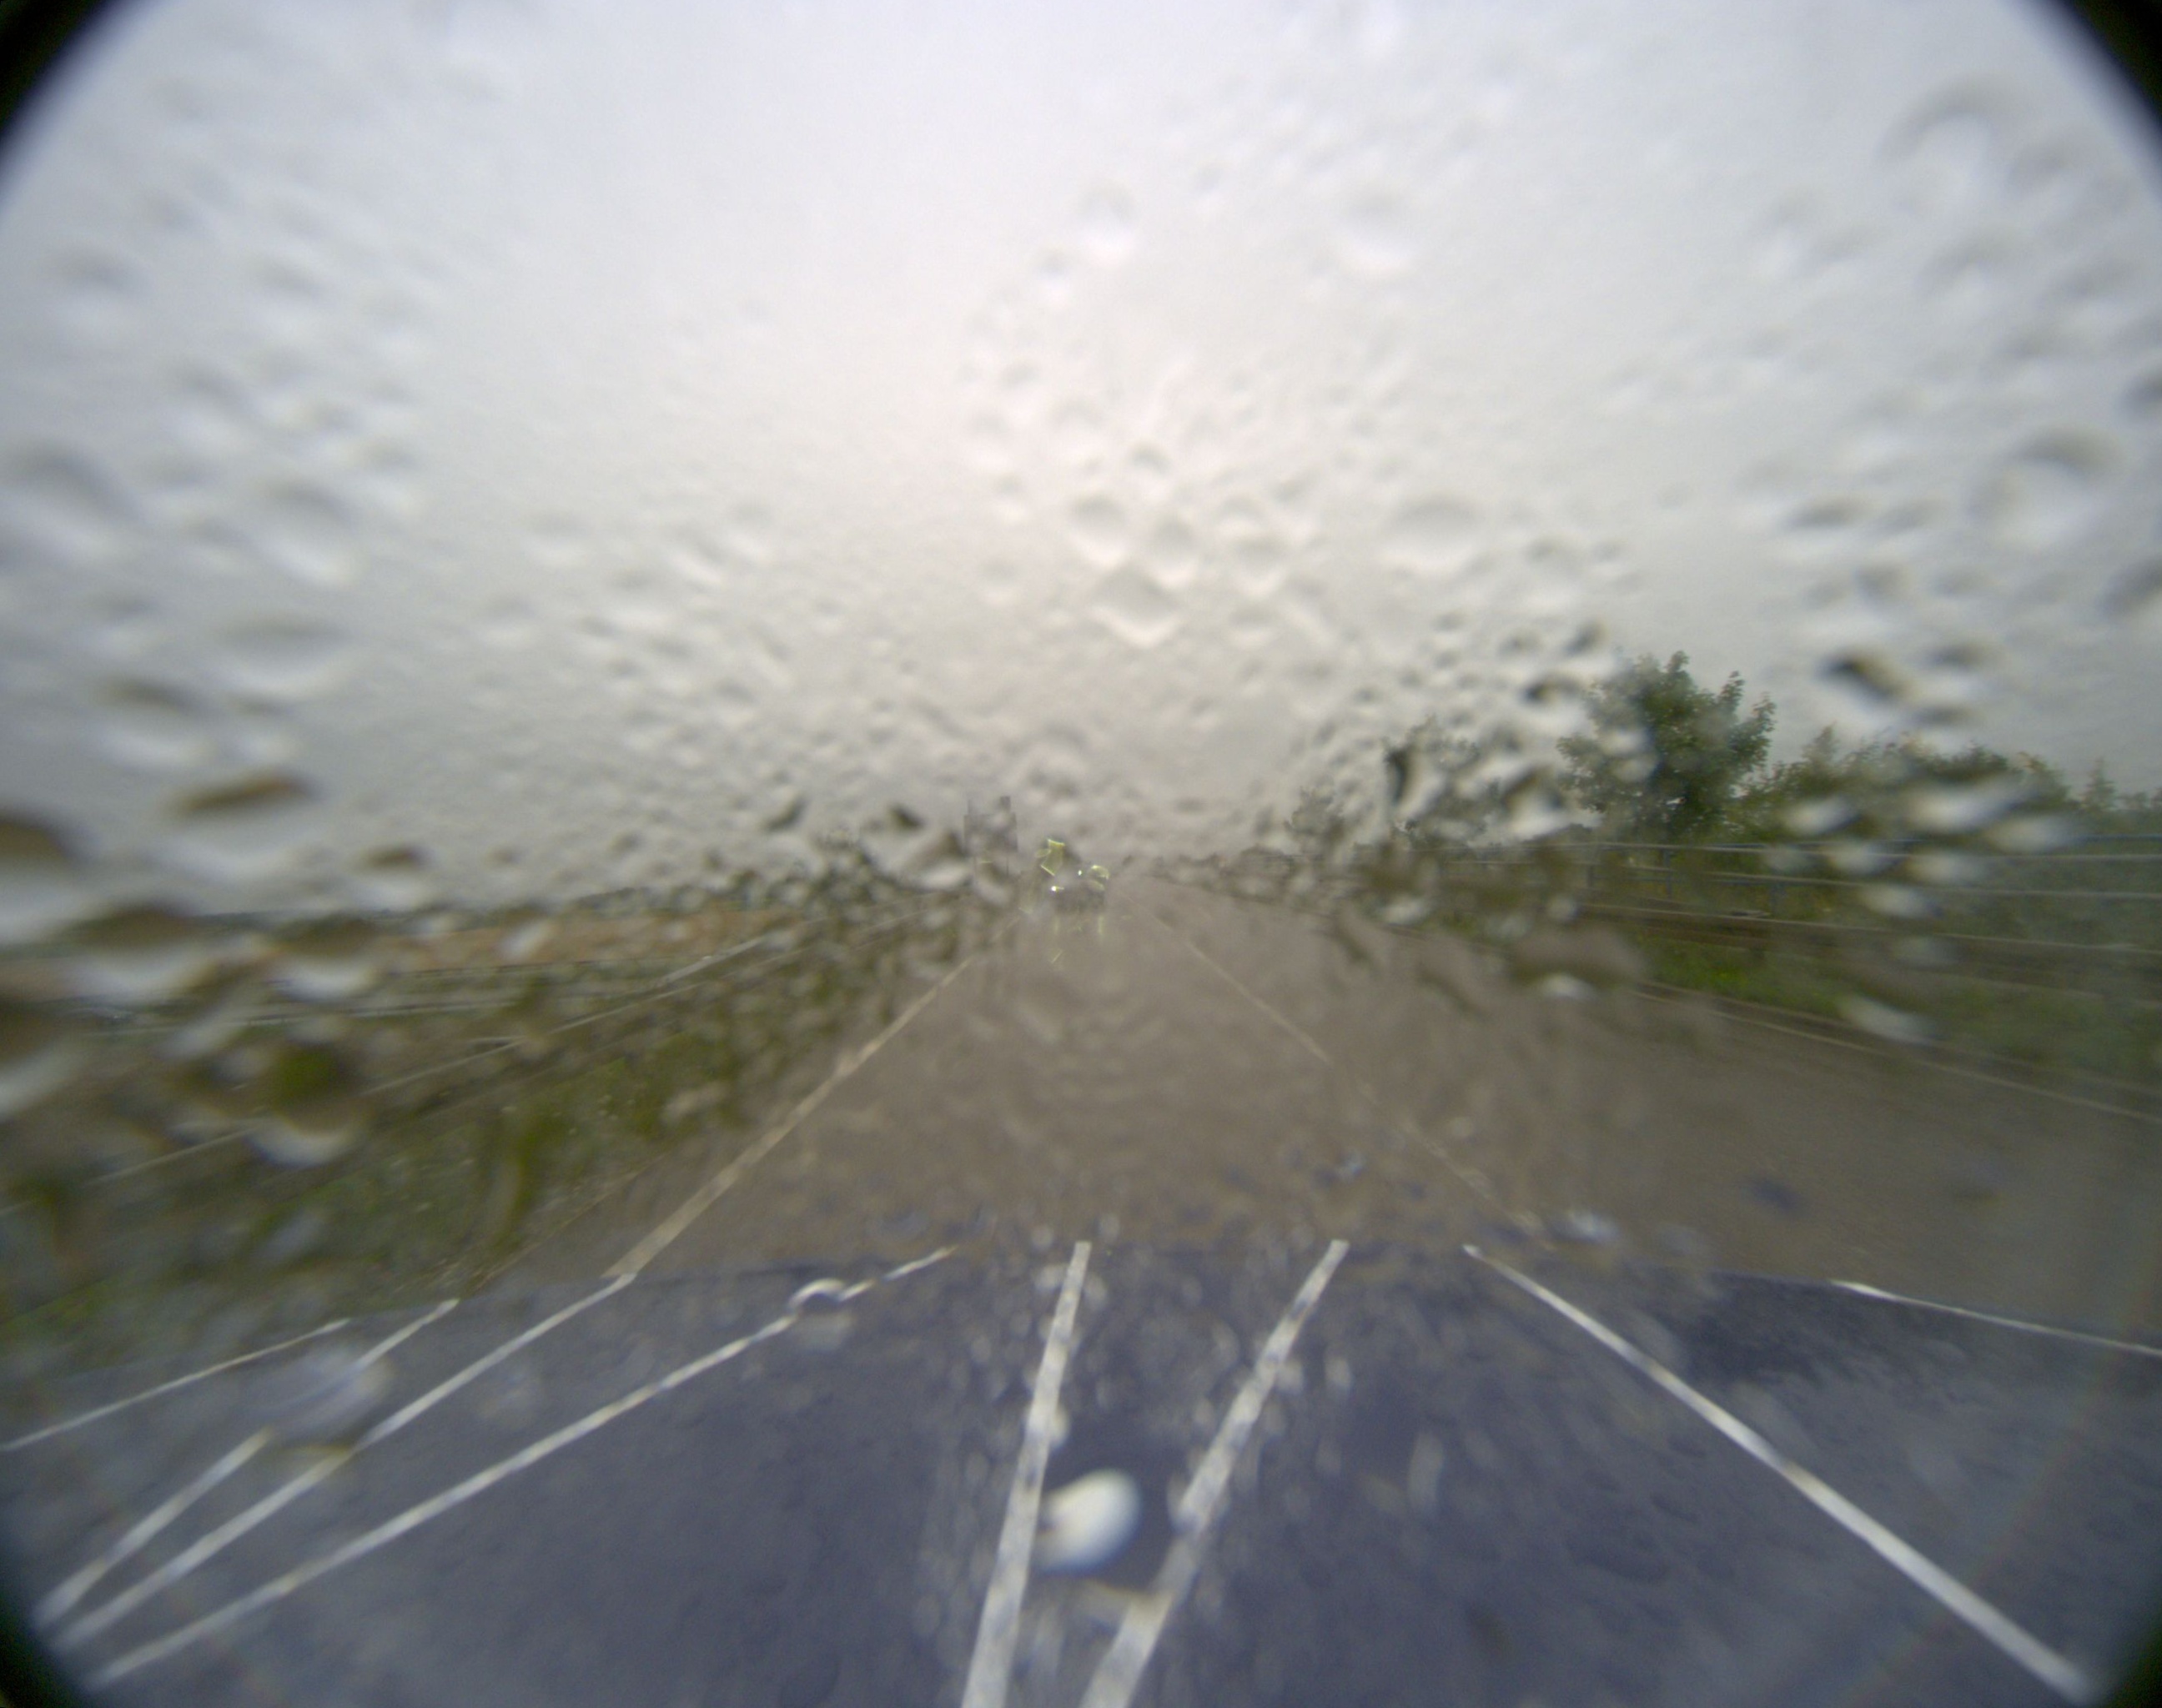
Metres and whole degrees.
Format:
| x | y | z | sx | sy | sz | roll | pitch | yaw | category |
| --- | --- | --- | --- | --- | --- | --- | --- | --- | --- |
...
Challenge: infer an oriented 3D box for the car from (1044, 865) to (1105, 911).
| x | y | z | sx | sy | sz | roll | pitch | yaw | category |
| --- | --- | --- | --- | --- | --- | --- | --- | --- | --- |
| -0.148 | 1.120 | 26.730 | 1.909 | 1.361 | 4.566 | -2 | 0 | 2 | car |
